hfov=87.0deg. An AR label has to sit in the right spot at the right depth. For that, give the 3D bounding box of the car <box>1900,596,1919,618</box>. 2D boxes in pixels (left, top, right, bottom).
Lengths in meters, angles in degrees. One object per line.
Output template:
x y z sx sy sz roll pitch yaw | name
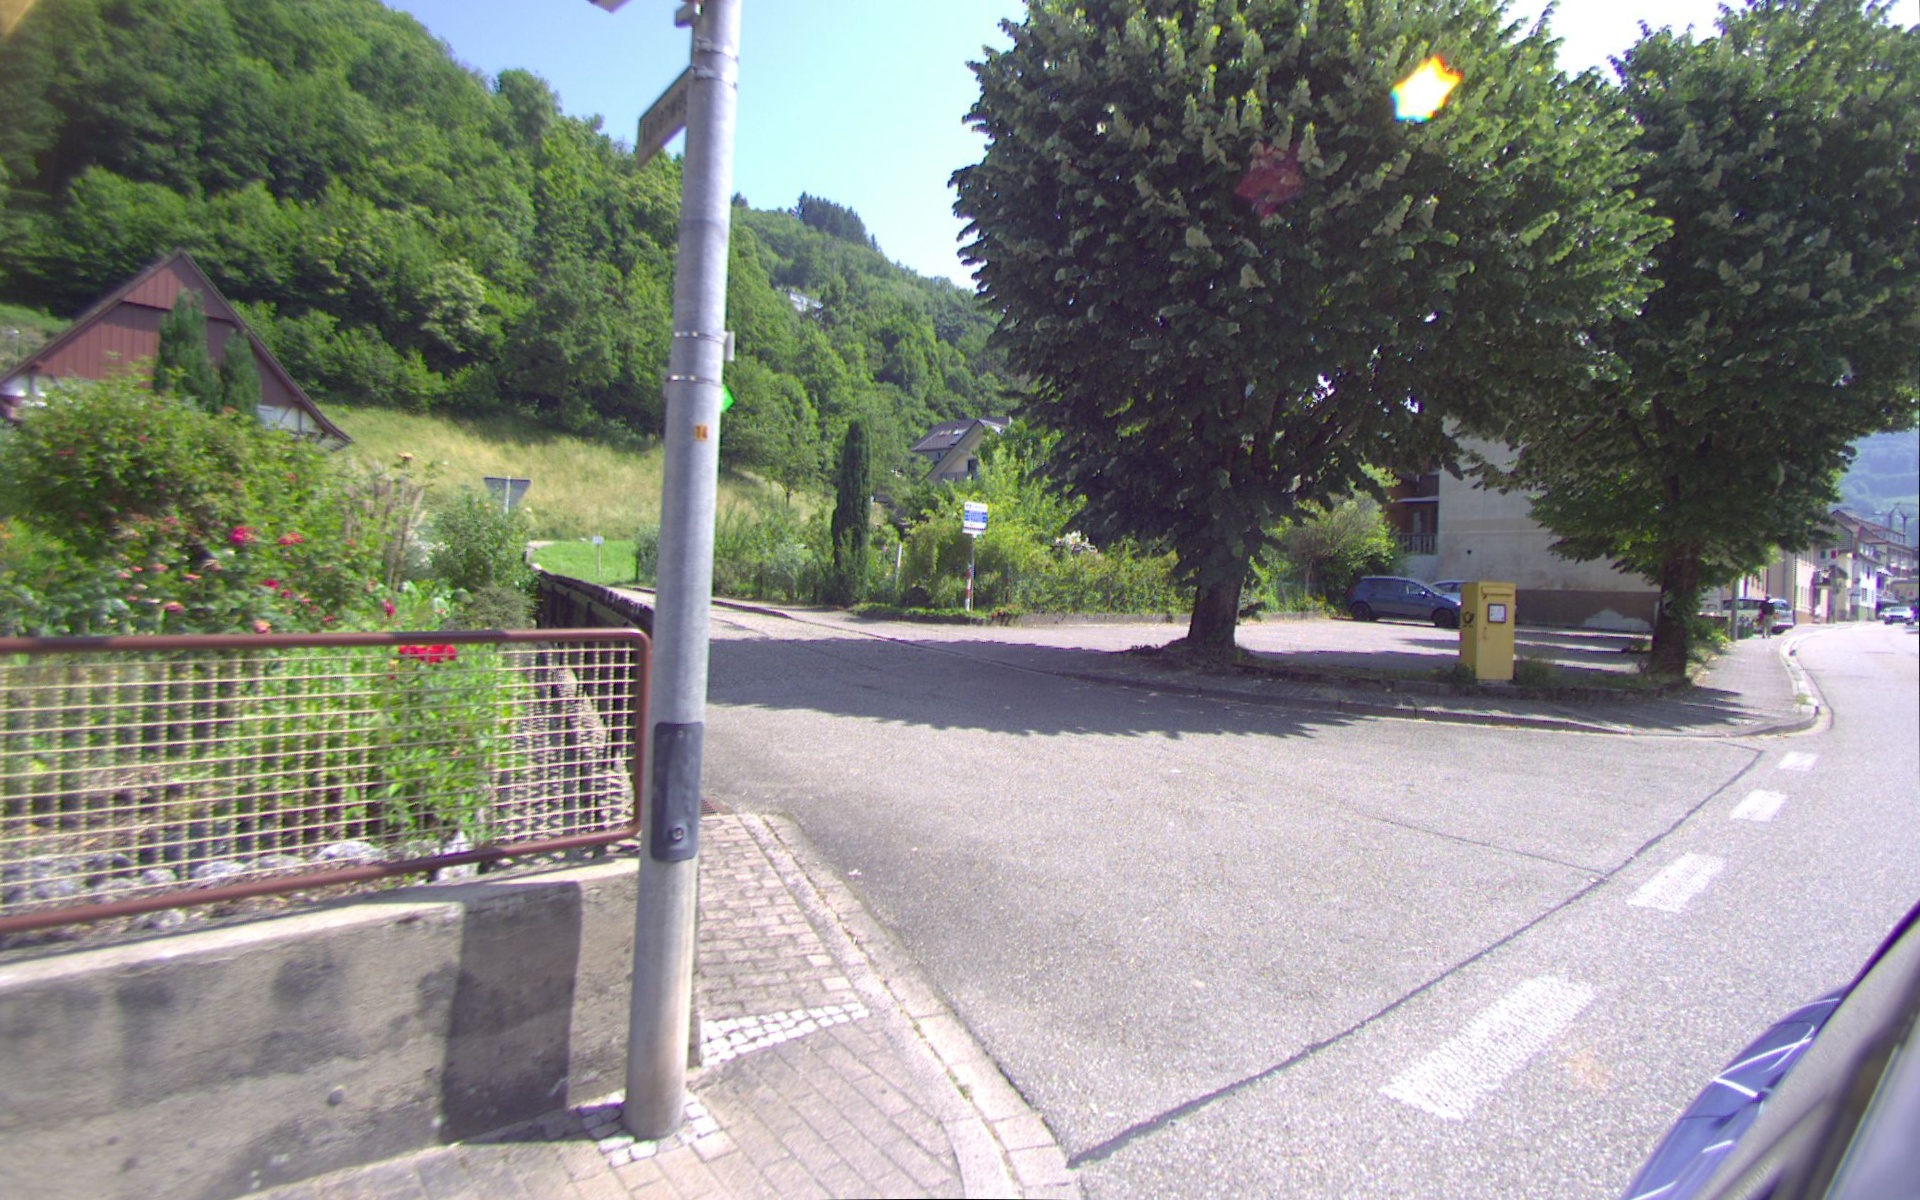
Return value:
94.093 0.684 99.502 3.931 2.039 1.996 0 -1 -42 | car

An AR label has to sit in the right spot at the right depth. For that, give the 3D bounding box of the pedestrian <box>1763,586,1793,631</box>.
31.613 0.335 39.099 0.699 1.692 0.682 1 2 -38 | pedestrian

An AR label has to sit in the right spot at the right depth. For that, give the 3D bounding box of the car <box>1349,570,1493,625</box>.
14.490 -0.107 31.882 3.827 1.424 1.545 5 3 38 | car

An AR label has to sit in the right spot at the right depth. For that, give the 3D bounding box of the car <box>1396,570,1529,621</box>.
17.794 -0.187 35.928 3.928 1.489 1.633 5 3 37 | car

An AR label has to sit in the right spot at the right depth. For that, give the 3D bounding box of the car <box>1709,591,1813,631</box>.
36.729 0.481 46.480 1.616 1.615 3.353 1 2 -25 | car
